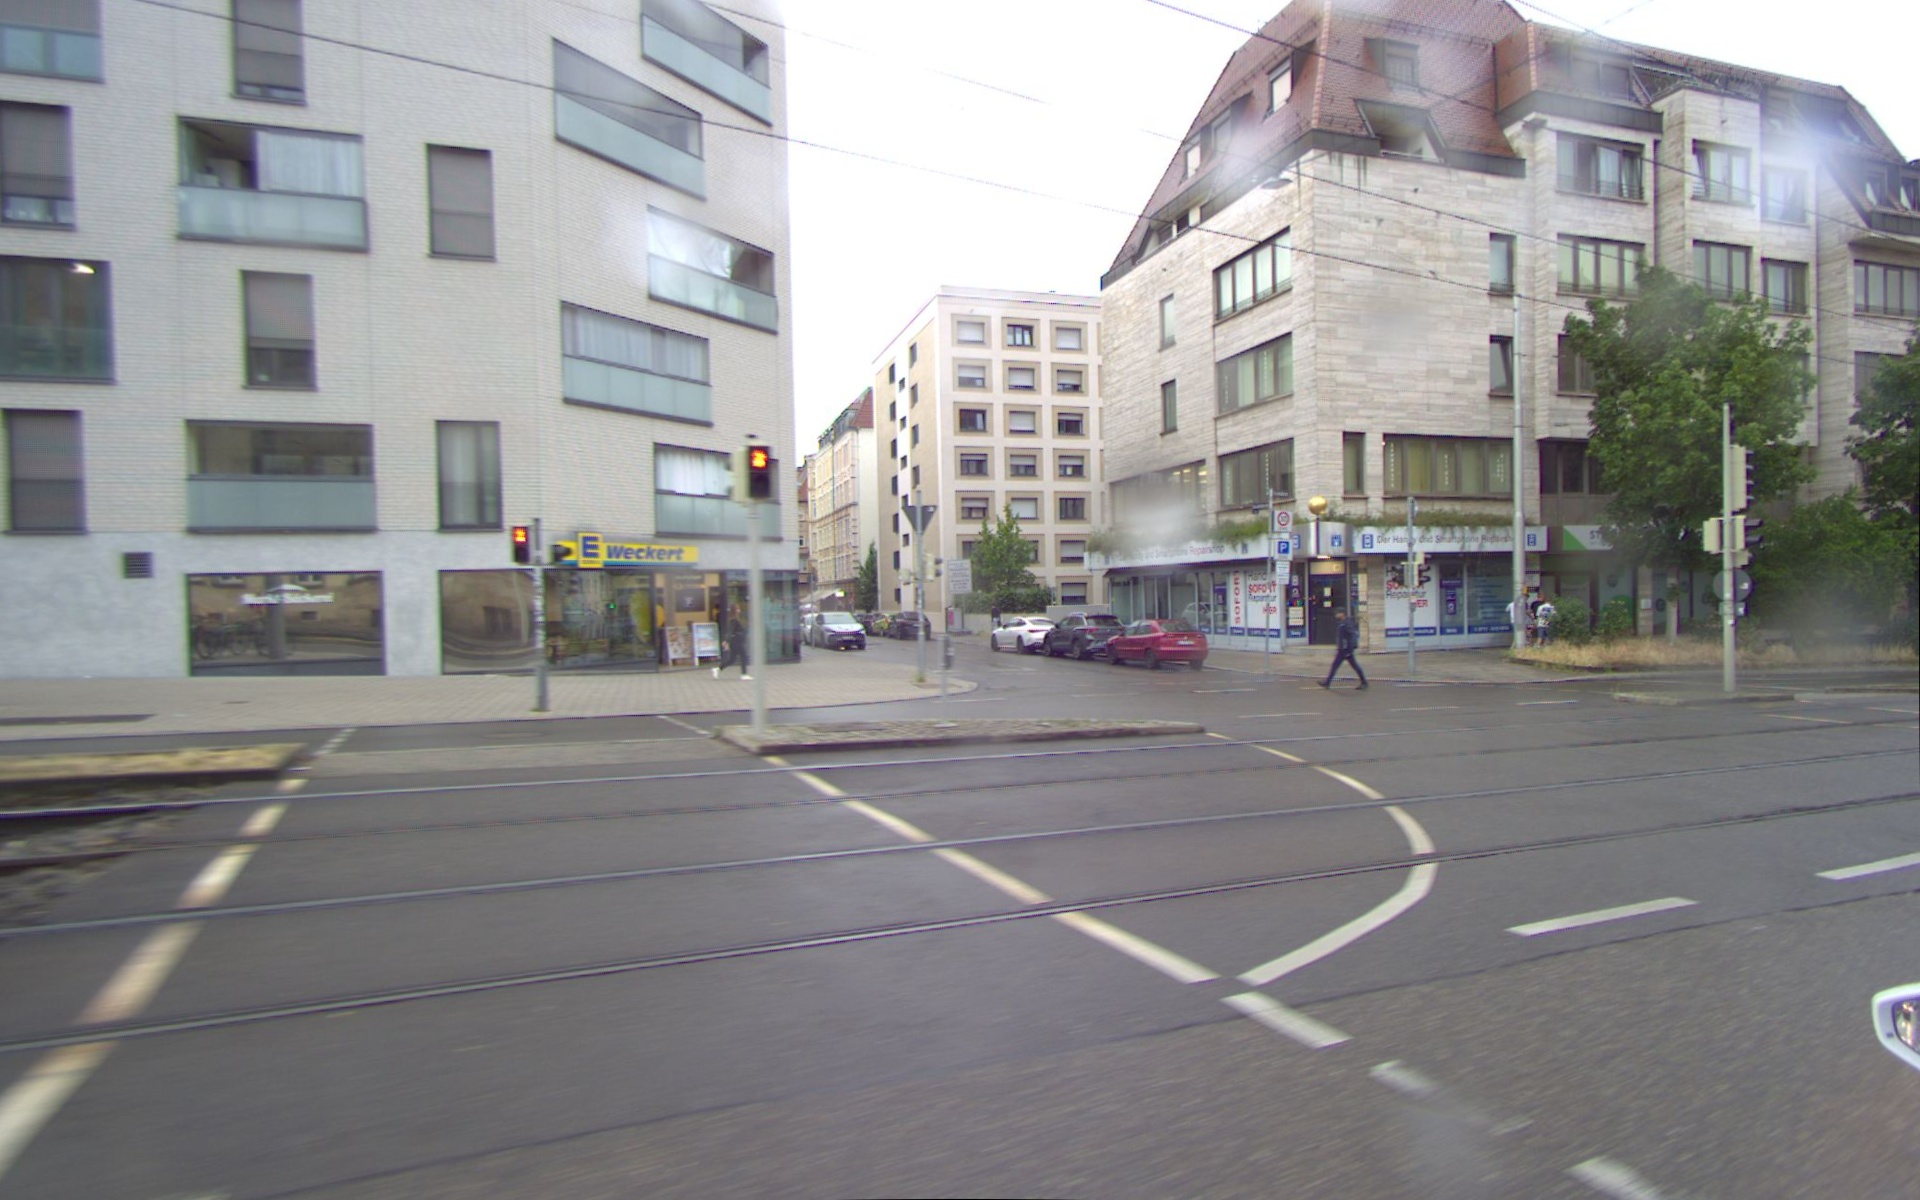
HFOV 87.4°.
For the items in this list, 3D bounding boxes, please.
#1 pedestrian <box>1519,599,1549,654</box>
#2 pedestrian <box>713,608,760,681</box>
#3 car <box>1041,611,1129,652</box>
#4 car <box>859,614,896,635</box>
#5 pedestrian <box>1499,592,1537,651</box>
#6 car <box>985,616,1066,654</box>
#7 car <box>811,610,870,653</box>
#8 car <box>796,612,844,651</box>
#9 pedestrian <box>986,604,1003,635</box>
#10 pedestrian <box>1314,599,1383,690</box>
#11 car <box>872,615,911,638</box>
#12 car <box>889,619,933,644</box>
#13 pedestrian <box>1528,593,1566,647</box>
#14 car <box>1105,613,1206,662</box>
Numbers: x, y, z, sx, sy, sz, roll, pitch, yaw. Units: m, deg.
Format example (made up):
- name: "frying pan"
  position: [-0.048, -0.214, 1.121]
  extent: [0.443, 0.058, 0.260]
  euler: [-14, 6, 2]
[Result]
- name: "pedestrian"
  position: [17.548, 0.807, 30.722]
  extent: [0.577, 1.619, 0.503]
  euler: [1, 1, -20]
- name: "pedestrian"
  position: [-4.973, 0.965, 22.359]
  extent: [0.638, 1.590, 0.775]
  euler: [0, 0, 34]
- name: "car"
  position: [4.229, 1.049, 34.478]
  extent: [1.569, 1.335, 3.690]
  euler: [2, -1, -18]
- name: "car"
  position: [-5.542, 1.641, 67.175]
  extent: [1.569, 1.335, 3.690]
  euler: [2, -1, -18]
- name: "pedestrian"
  position: [16.841, 0.644, 30.329]
  extent: [0.673, 1.747, 0.647]
  euler: [2, 1, -20]
- name: "car"
  position: [2.487, 1.325, 39.199]
  extent: [1.569, 1.335, 4.484]
  euler: [2, -1, -18]
- name: "car"
  position: [-5.239, 1.330, 43.666]
  extent: [1.967, 1.617, 3.987]
  euler: [2, 1, -15]
- name: "car"
  position: [-6.841, 1.500, 48.665]
  extent: [1.772, 1.617, 3.987]
  euler: [2, 1, -15]
- name: "pedestrian"
  position: [1.813, 1.022, 52.438]
  extent: [0.640, 1.569, 0.681]
  euler: [2, 1, -20]
- name: "pedestrian"
  position: [8.310, 0.936, 21.512]
  extent: [0.947, 1.854, 0.927]
  euler: [1, 1, -26]
- name: "car"
  position: [-4.313, 1.646, 62.721]
  extent: [1.569, 1.335, 3.690]
  euler: [2, -1, -18]
- name: "car"
  position: [-2.869, 1.817, 57.707]
  extent: [1.569, 1.335, 3.690]
  euler: [2, -1, -18]
- name: "pedestrian"
  position: [17.378, 0.587, 29.730]
  extent: [0.673, 1.569, 0.647]
  euler: [2, 1, -20]
- name: "car"
  position: [5.735, 1.083, 29.885]
  extent: [1.566, 1.335, 3.696]
  euler: [1, -1, -13]
